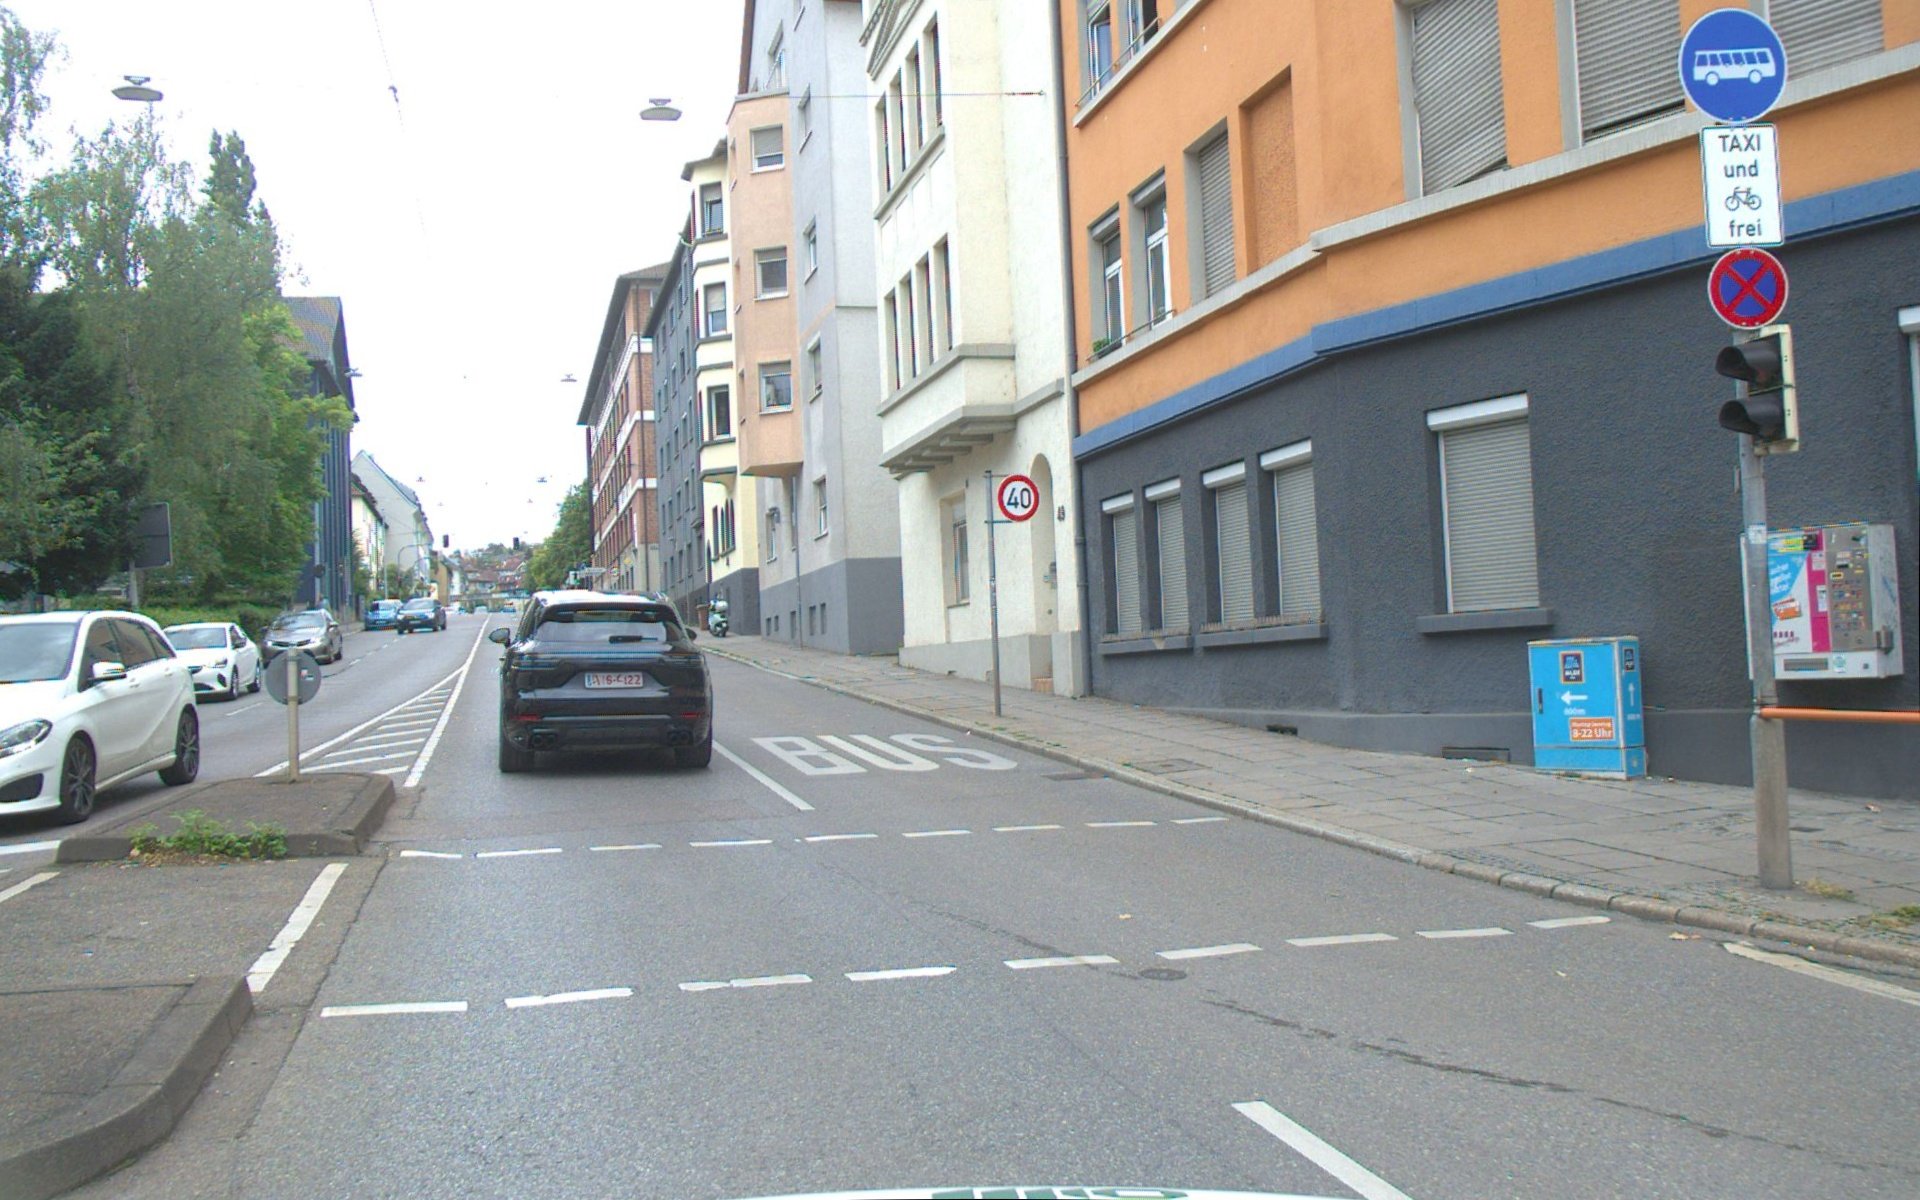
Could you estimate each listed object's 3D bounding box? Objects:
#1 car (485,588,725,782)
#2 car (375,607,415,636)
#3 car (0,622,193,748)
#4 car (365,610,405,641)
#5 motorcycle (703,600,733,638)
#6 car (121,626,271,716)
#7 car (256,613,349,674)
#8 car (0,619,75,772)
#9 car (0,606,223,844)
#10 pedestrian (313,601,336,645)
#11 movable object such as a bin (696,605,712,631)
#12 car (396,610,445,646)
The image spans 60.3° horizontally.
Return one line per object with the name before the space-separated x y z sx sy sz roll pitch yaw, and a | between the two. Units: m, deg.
car | -3.703 0.753 16.645 1.992 1.670 4.334 0 -1 -17
car | -31.533 1.196 92.411 1.686 1.481 3.974 -4 1 -14
car | -13.515 1.246 25.672 1.918 1.621 4.482 -5 1 -13
car | -30.132 1.326 86.762 1.687 1.448 3.972 -4 1 -16
motorcycle | -7.874 0.614 53.770 0.529 1.176 2.215 -5 1 -18
car | -14.596 1.309 31.826 1.809 1.436 4.058 -5 1 -14
car | -17.944 1.158 45.290 1.809 1.473 4.293 -4 0 -15
car | -11.665 1.140 18.464 1.918 1.670 4.399 -5 1 -13
car | -7.491 0.916 13.236 1.743 1.573 4.315 -5 1 -9
pedestrian | -29.017 1.042 75.501 0.868 1.984 0.864 1 0 -16
movable object such as a bin | -9.349 0.661 60.435 0.467 0.907 0.514 -5 1 -17
car | -24.528 1.253 75.254 1.809 1.473 4.293 -4 0 -15
